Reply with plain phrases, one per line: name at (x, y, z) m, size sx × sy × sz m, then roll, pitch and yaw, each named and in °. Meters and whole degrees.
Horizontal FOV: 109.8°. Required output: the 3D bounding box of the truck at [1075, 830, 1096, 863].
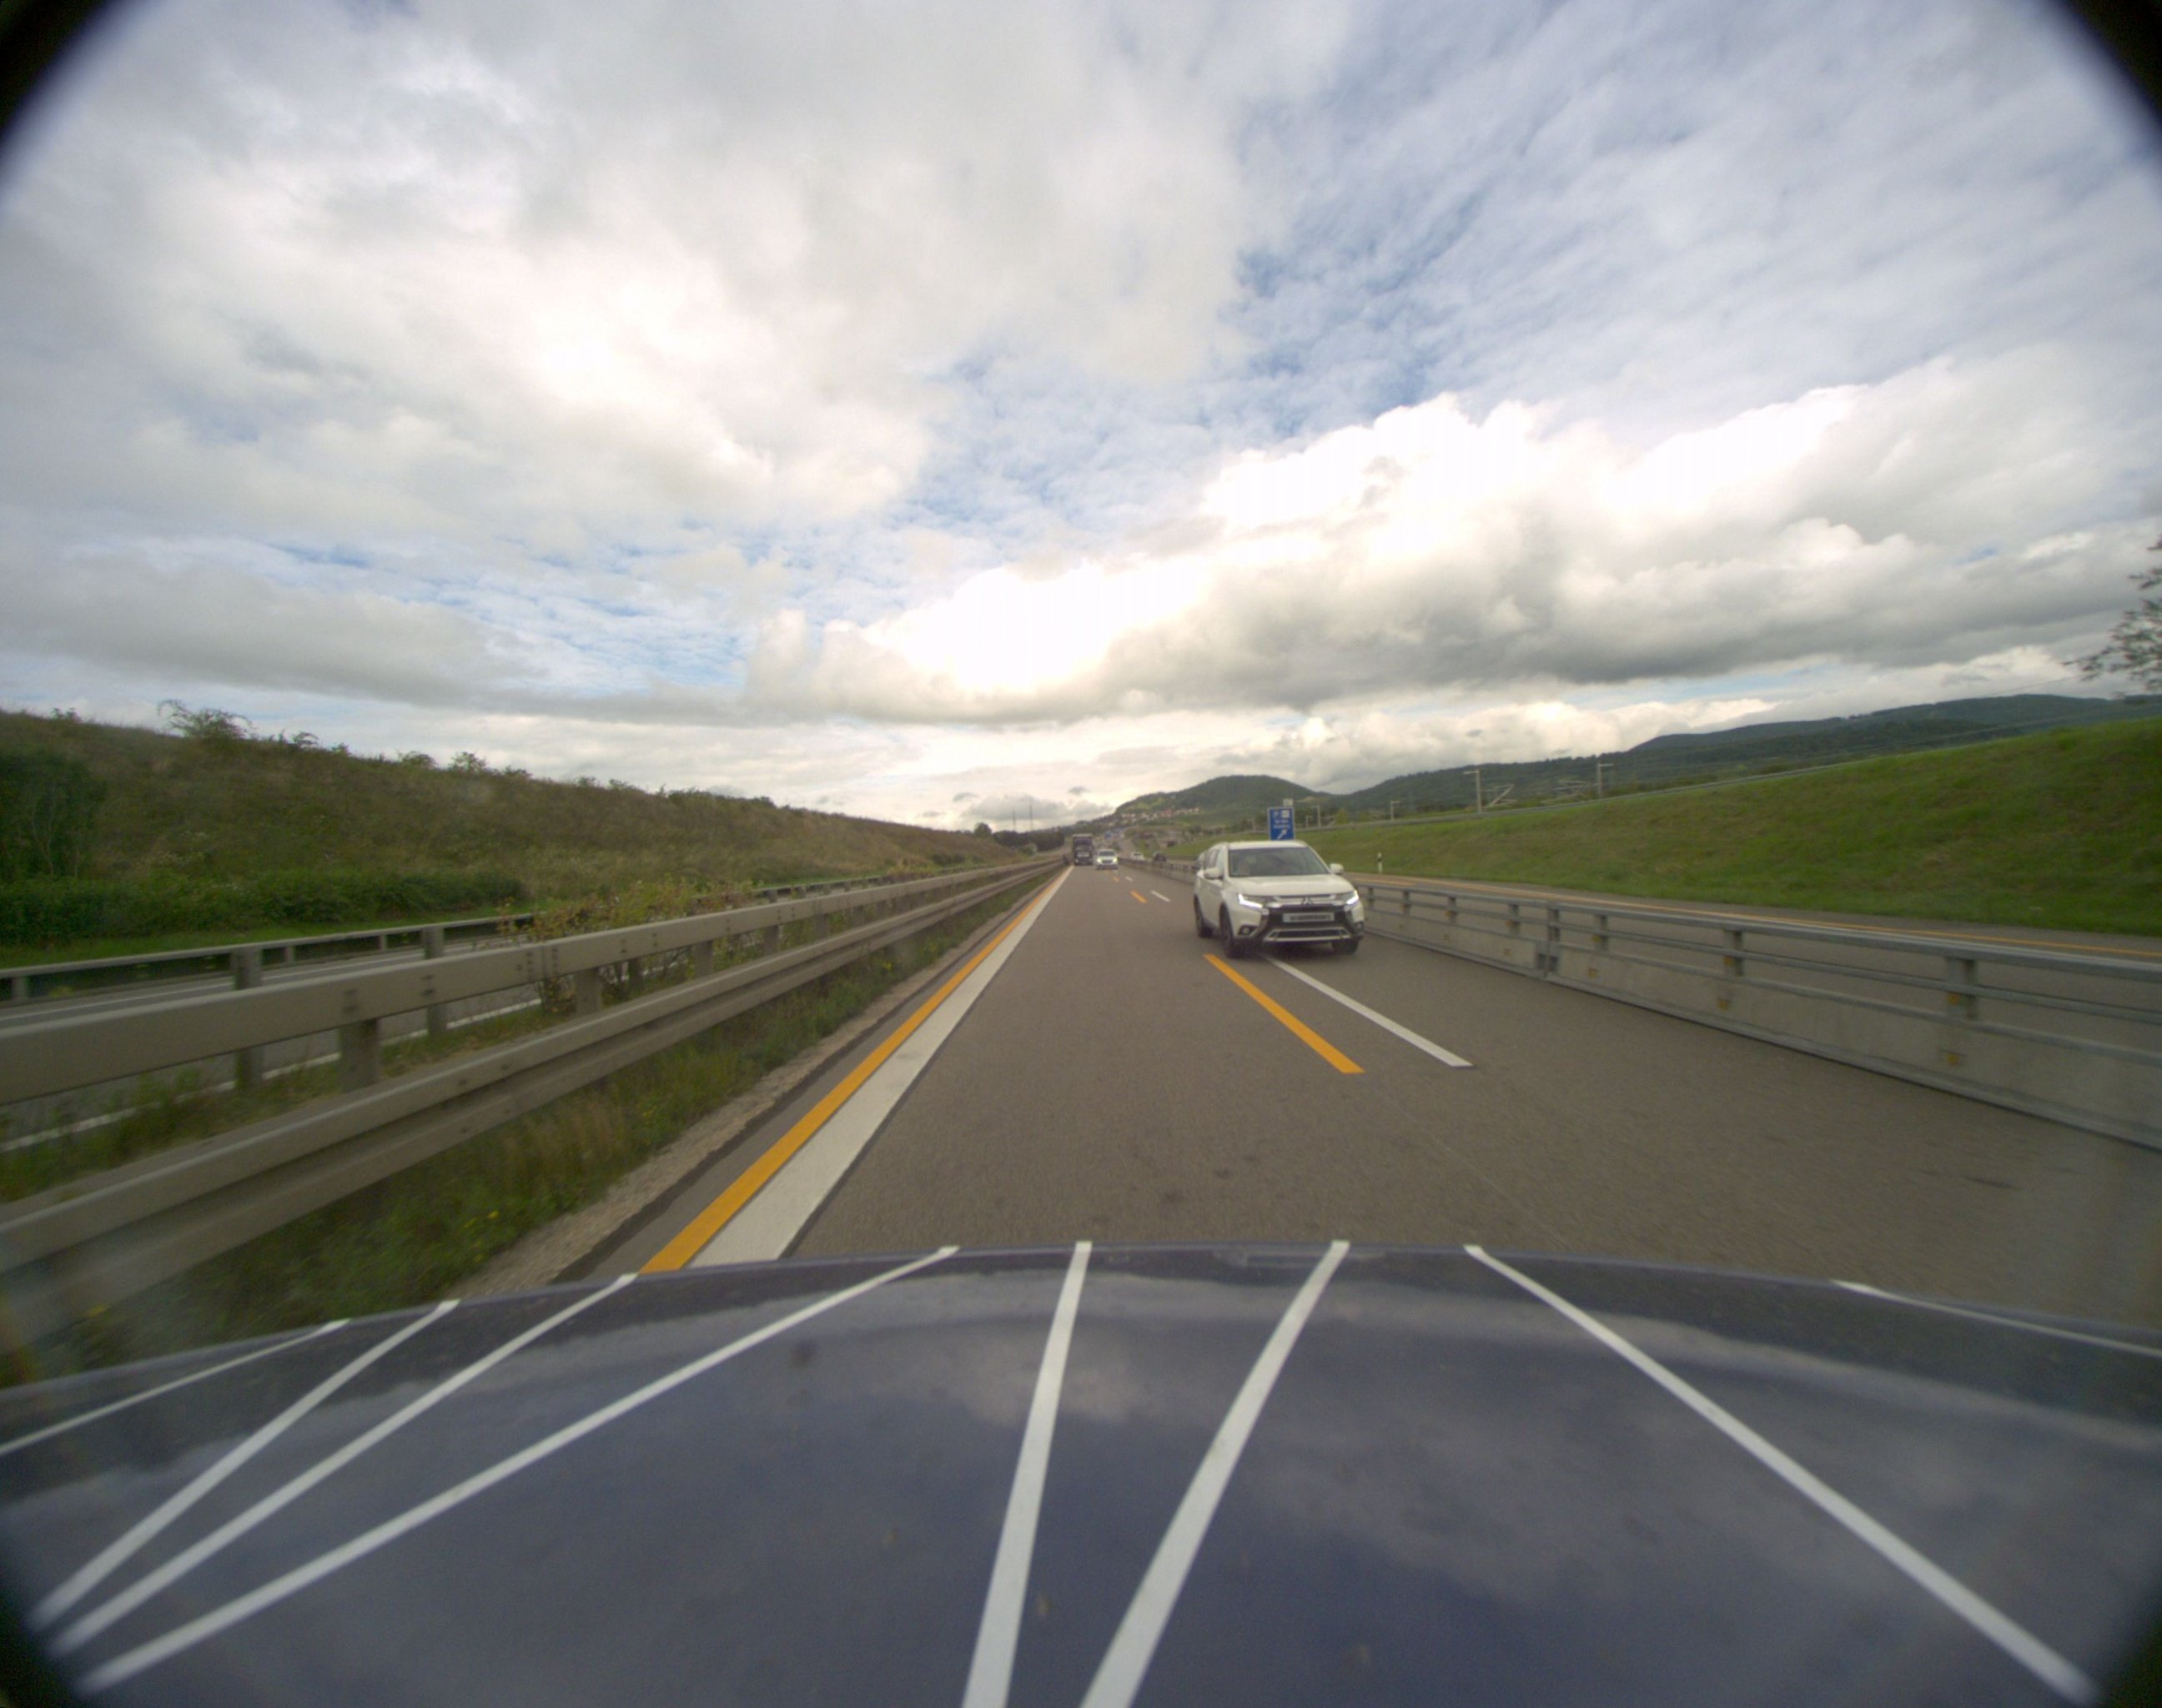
truck at (0.595, -0.972, 100.187) m, size 2.521 × 4.081 × 5.684 m, roll -2°, pitch 1°, yaw 1°

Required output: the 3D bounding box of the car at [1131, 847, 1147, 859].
car at (7.347, -0.095, 96.654) m, size 1.761 × 1.380 × 4.327 m, roll -3°, pitch 0°, yaw 3°

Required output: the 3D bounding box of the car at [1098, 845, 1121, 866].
car at (2.595, 0.116, 71.235) m, size 1.991 × 1.788 × 4.585 m, roll -2°, pitch 1°, yaw 1°

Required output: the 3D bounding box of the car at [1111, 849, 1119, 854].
car at (8.871, -0.658, 197.823) m, size 1.761 × 1.380 × 4.000 m, roll -2°, pitch 0°, yaw 1°

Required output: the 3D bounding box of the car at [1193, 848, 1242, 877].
car at (7.421, 0.408, 41.794) m, size 1.941 × 1.460 × 4.589 m, roll -1°, pitch 0°, yaw 1°

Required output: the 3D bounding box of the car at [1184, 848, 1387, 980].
car at (2.880, 0.740, 11.840) m, size 1.998 × 1.618 × 4.607 m, roll -1°, pitch 0°, yaw 1°

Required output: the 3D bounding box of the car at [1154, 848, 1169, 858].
car at (11.037, -0.147, 104.251) m, size 1.761 × 1.380 × 4.000 m, roll -2°, pitch 0°, yaw 1°

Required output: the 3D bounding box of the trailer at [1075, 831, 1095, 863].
trailer at (0.660, -1.022, 105.439) m, size 2.521 × 4.081 × 11.112 m, roll -2°, pitch 1°, yaw 1°

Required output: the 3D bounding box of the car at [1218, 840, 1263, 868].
car at (10.907, -0.028, 52.349) m, size 1.999 × 1.781 × 4.933 m, roll -2°, pitch 0°, yaw 0°
